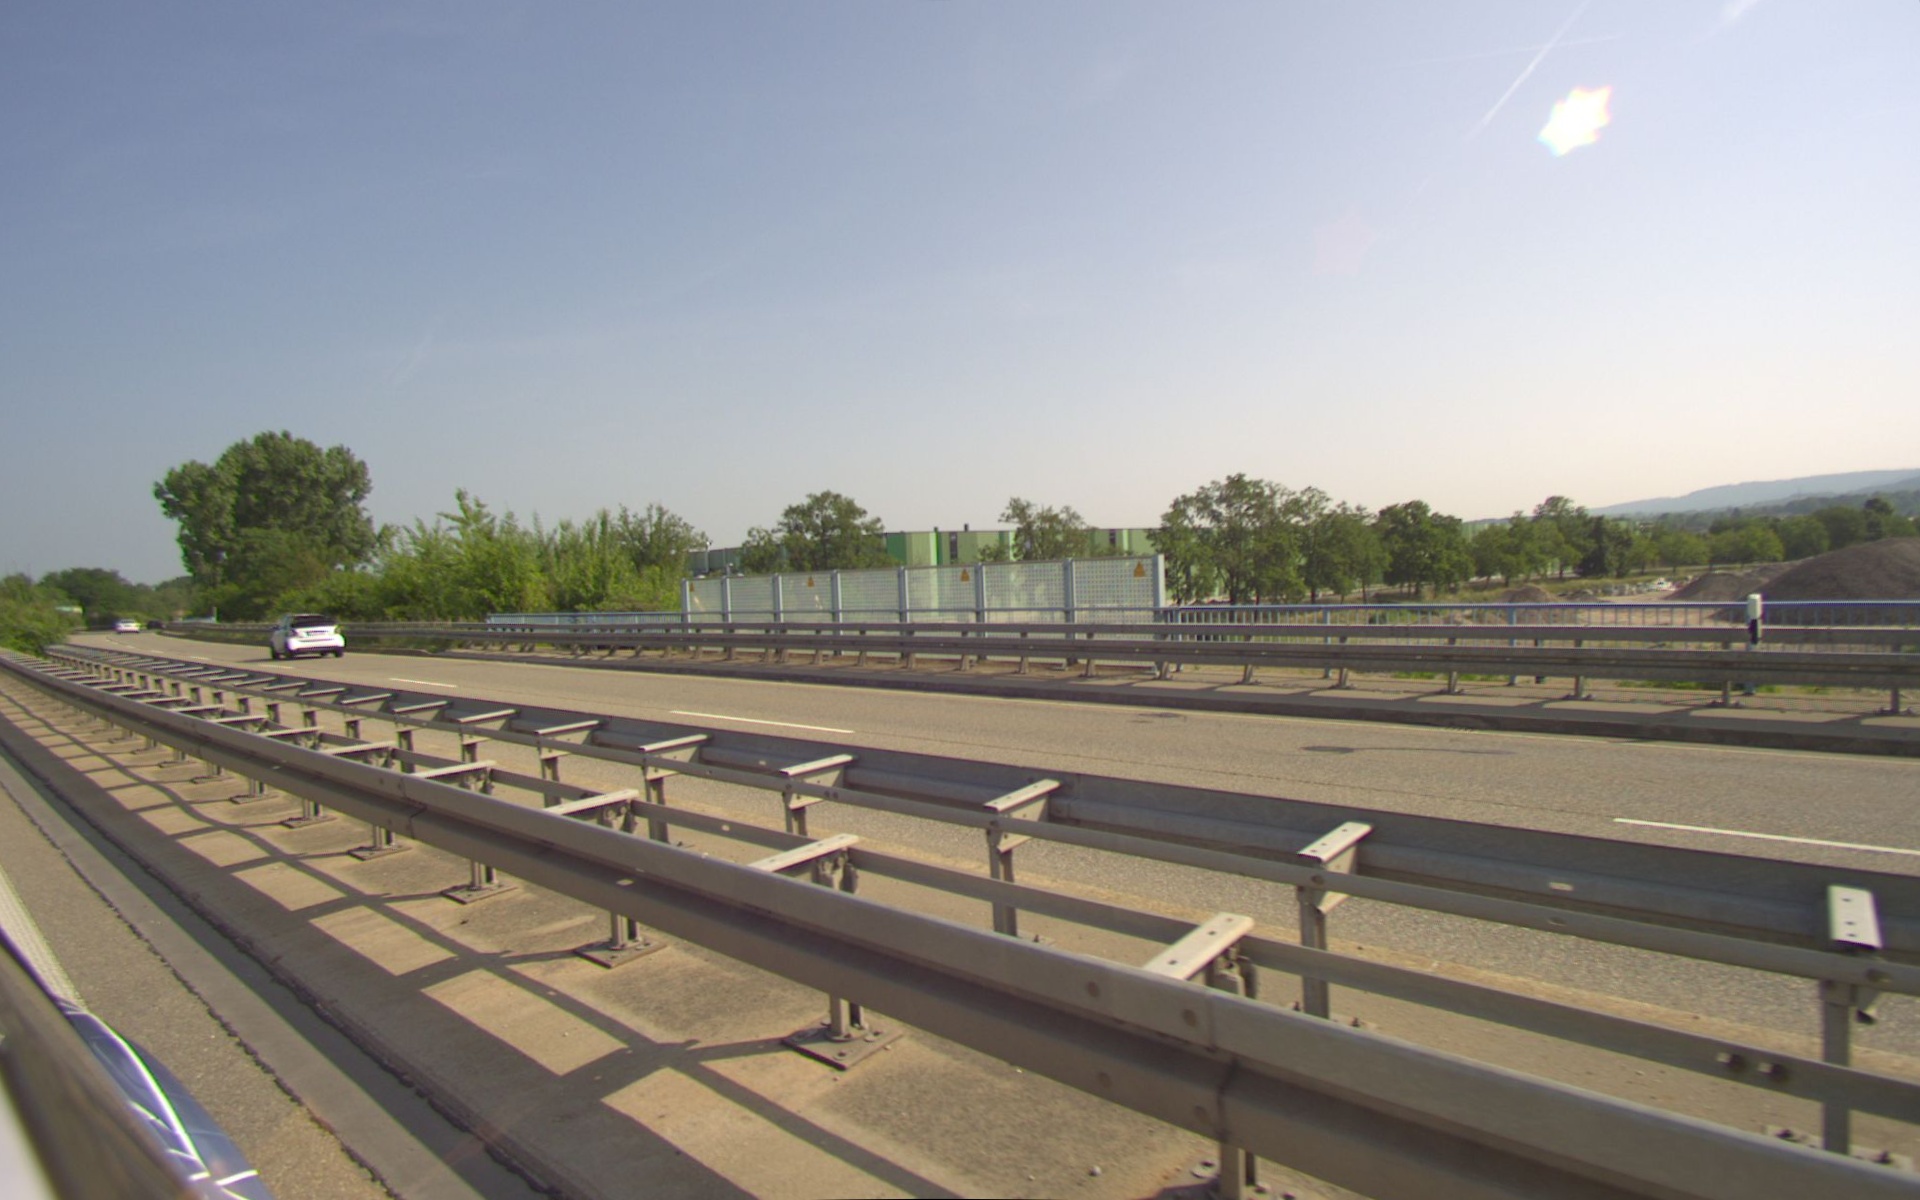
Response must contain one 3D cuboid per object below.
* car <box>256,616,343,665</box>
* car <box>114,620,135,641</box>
[{"bbox_3d":[-22.752,1.367,34.815,4.001,1.514,1.629,-1,1,44],"label":"car"},{"bbox_3d":[-85.275,3.055,103.286,1.624,2.029,3.604,-1,1,-40],"label":"car"}]
